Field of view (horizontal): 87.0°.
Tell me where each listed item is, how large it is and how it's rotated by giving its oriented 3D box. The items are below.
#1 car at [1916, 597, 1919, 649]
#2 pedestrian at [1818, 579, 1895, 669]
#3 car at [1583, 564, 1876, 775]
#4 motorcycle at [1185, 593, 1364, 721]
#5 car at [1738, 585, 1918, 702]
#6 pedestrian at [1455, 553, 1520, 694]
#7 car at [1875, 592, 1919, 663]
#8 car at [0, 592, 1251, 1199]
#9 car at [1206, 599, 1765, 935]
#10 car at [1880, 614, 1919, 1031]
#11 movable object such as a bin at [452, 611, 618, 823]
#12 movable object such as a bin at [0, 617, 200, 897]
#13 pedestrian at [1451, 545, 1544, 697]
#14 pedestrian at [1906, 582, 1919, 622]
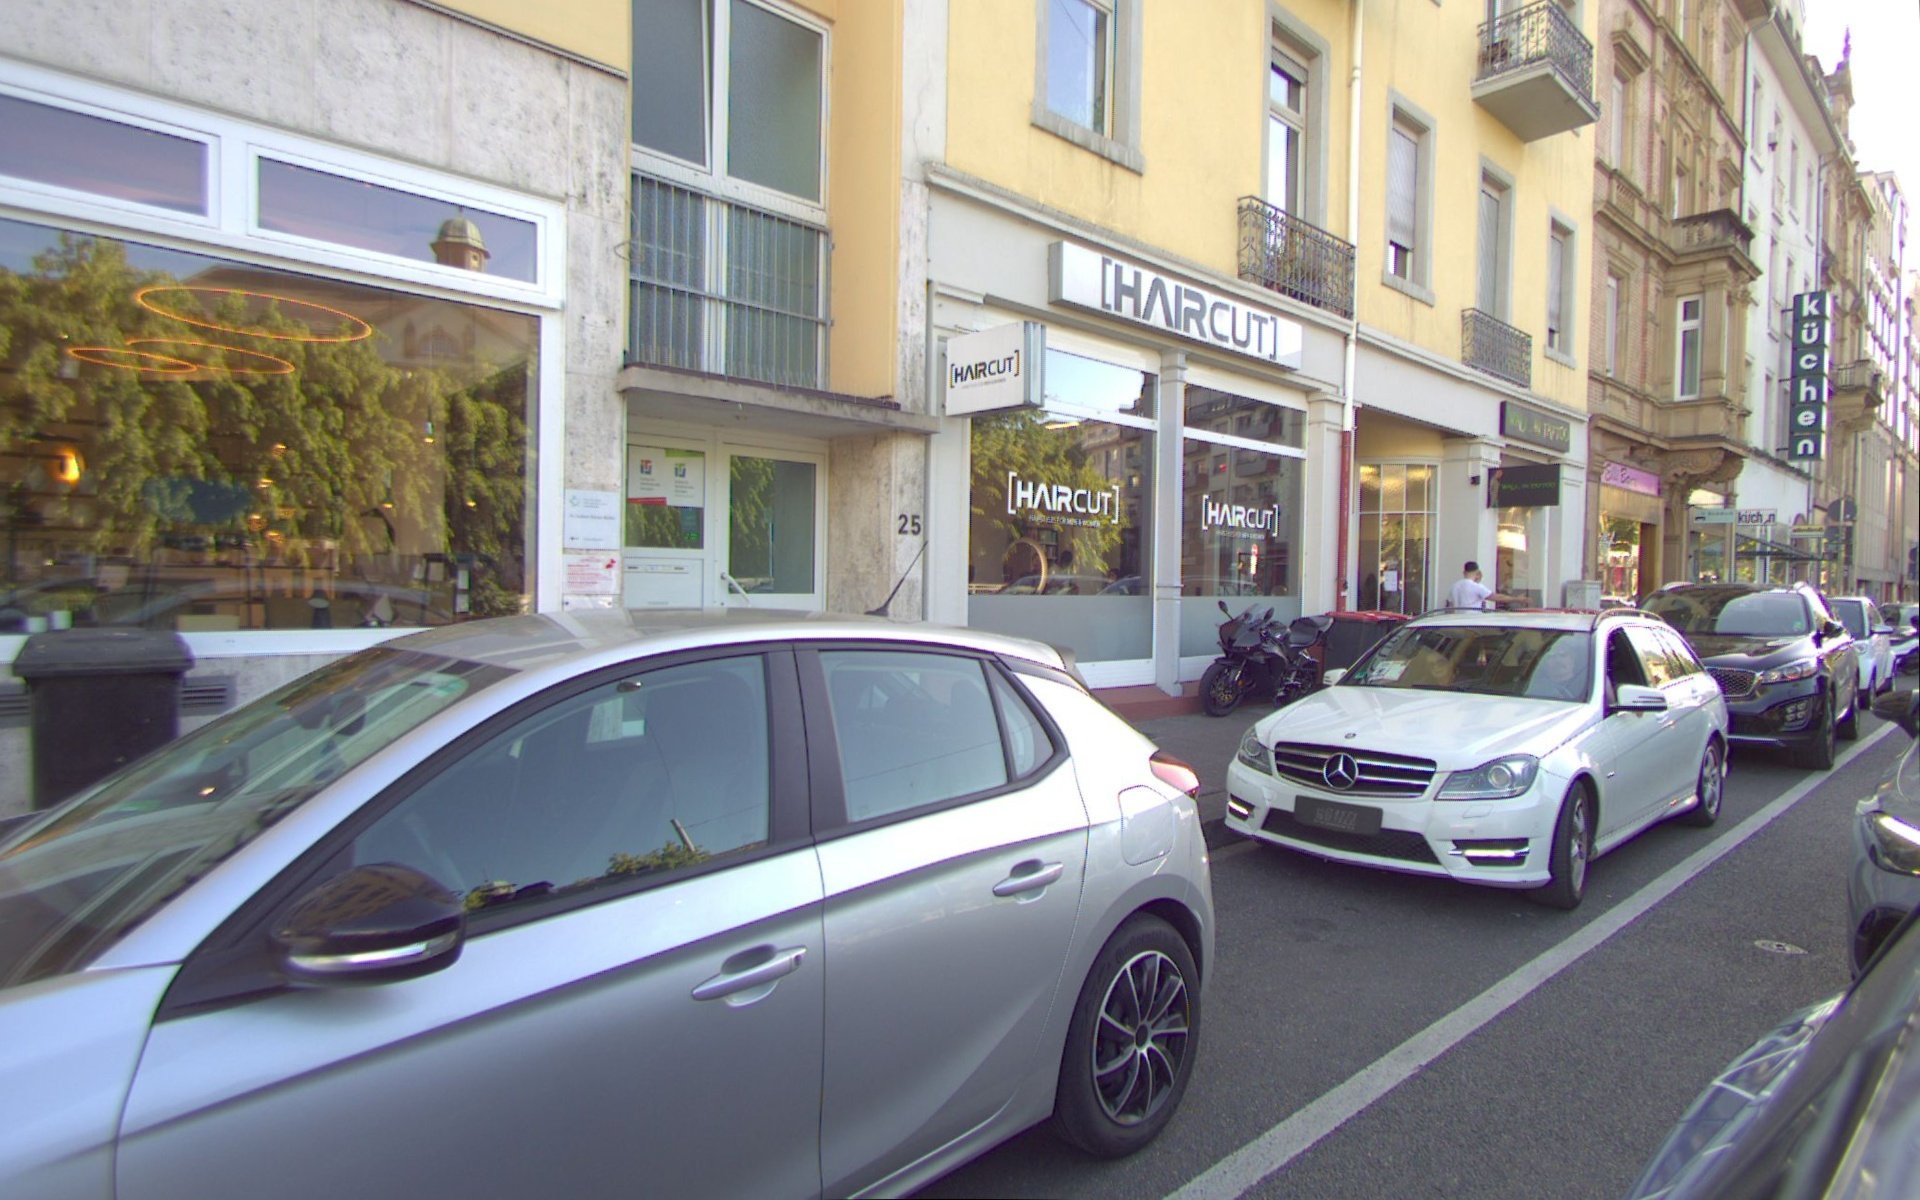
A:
[{"bbox_3d":[26.607,0.582,26.924,3.306,1.334,1.459,-1,0,-42],"label":"car"},{"bbox_3d":[17.783,0.469,20.100,0.806,1.741,0.835,0,0,9],"label":"pedestrian"},{"bbox_3d":[8.007,0.537,10.363,4.338,1.711,1.802,-1,0,-45],"label":"car"},{"bbox_3d":[3.299,0.529,10.500,2.073,1.144,0.735,-1,5,-41],"label":"motorcycle"},{"bbox_3d":[12.769,0.554,14.849,2.945,1.542,1.582,-1,0,-41],"label":"car"},{"bbox_3d":[7.237,0.308,13.870,0.627,1.859,0.760,0,0,41],"label":"pedestrian"},{"bbox_3d":[21.895,0.573,22.805,3.736,1.509,1.691,-1,0,-45],"label":"car"},{"bbox_3d":[-1.008,0.721,2.303,3.625,1.455,1.585,-1,0,-43],"label":"car"},{"bbox_3d":[3.531,0.715,6.384,4.301,1.389,1.671,-1,0,-41],"label":"car"},{"bbox_3d":[5.395,0.756,4.372,4.397,1.385,1.767,-1,1,-43],"label":"car"},{"bbox_3d":[-2.329,0.587,5.533,0.639,1.036,0.737,0,0,-41],"label":"movable object such as a bin"},{"bbox_3d":[-3.676,0.605,4.319,0.639,1.036,0.737,0,0,-41],"label":"movable object such as a bin"},{"bbox_3d":[6.884,0.259,12.994,0.961,1.900,0.532,0,0,18],"label":"pedestrian"},{"bbox_3d":[43.299,0.082,45.642,0.809,1.782,0.825,0,0,-42],"label":"pedestrian"}]
